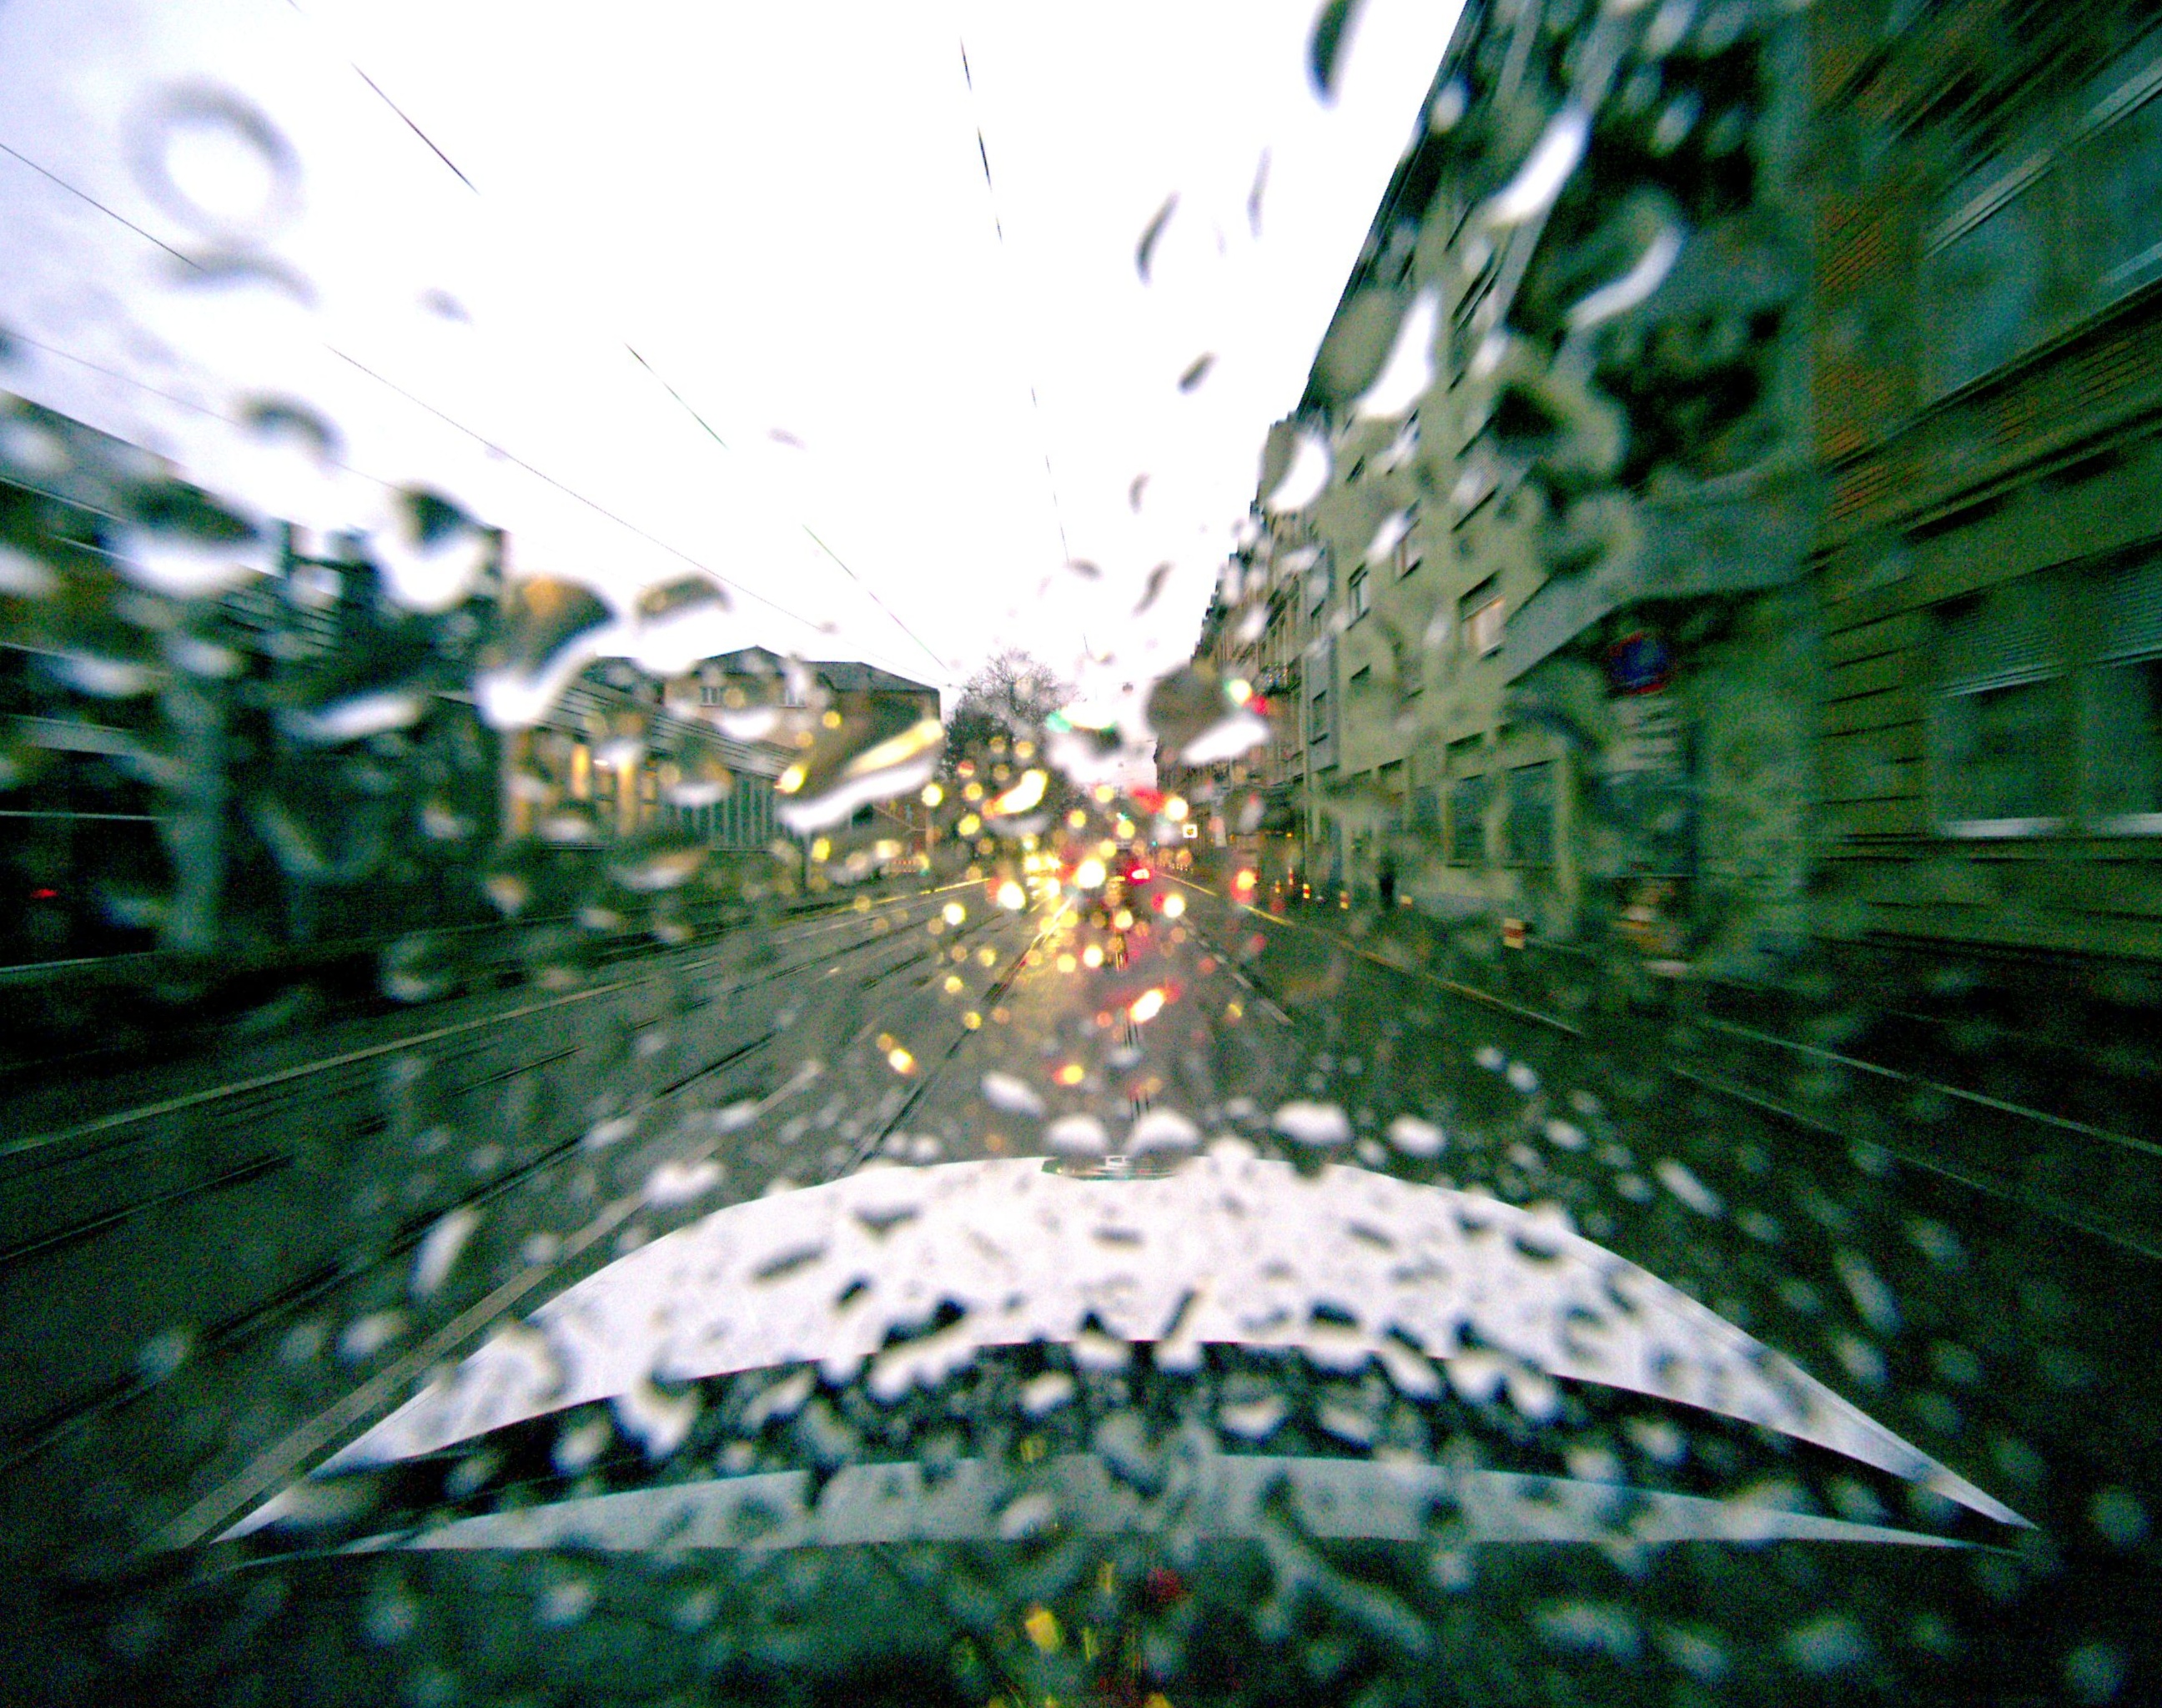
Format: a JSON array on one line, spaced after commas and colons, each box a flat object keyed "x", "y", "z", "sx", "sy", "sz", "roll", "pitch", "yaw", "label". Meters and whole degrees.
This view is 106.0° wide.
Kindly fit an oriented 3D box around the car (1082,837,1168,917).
[{"x": 1.194, "y": 0.551, "z": 21.042, "sx": 1.984, "sy": 1.842, "sz": 4.005, "roll": -1, "pitch": 0, "yaw": 5, "label": "car"}]

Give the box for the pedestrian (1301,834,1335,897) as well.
[{"x": 6.987, "y": 0.332, "z": 24.003, "sx": 0.601, "sy": 1.818, "sz": 0.769, "roll": 0, "pitch": -1, "yaw": -26, "label": "pedestrian"}]

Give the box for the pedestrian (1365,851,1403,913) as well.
[{"x": 6.836, "y": 0.616, "z": 18.400, "sx": 0.597, "sy": 1.376, "sz": 0.728, "roll": 0, "pitch": -1, "yaw": 1, "label": "pedestrian"}]

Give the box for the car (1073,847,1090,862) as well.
[{"x": 0.112, "y": 0.116, "z": 134.619, "sx": 2.437, "sy": 2.347, "sz": 5.848, "roll": -2, "pitch": -1, "yaw": 2, "label": "car"}]

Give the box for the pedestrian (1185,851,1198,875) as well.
[{"x": 7.895, "y": 0.610, "z": 58.059, "sx": 0.829, "sy": 1.701, "sz": 0.956, "roll": -1, "pitch": -1, "yaw": 10, "label": "pedestrian"}]

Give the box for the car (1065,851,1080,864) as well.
[{"x": -0.998, "y": 0.407, "z": 96.301, "sx": 1.524, "sy": 1.481, "sz": 3.563, "roll": -1, "pitch": 0, "yaw": 2, "label": "car"}]

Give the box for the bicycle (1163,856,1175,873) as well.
[{"x": 6.191, "y": 0.725, "z": 57.425, "sx": 0.681, "sy": 1.156, "sz": 2.189, "roll": 0, "pitch": 0, "yaw": 2, "label": "bicycle"}]

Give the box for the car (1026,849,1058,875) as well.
[{"x": -2.763, "y": 0.550, "z": 58.708, "sx": 1.868, "sy": 1.709, "sz": 4.762, "roll": -2, "pitch": 0, "yaw": 1, "label": "car"}]
